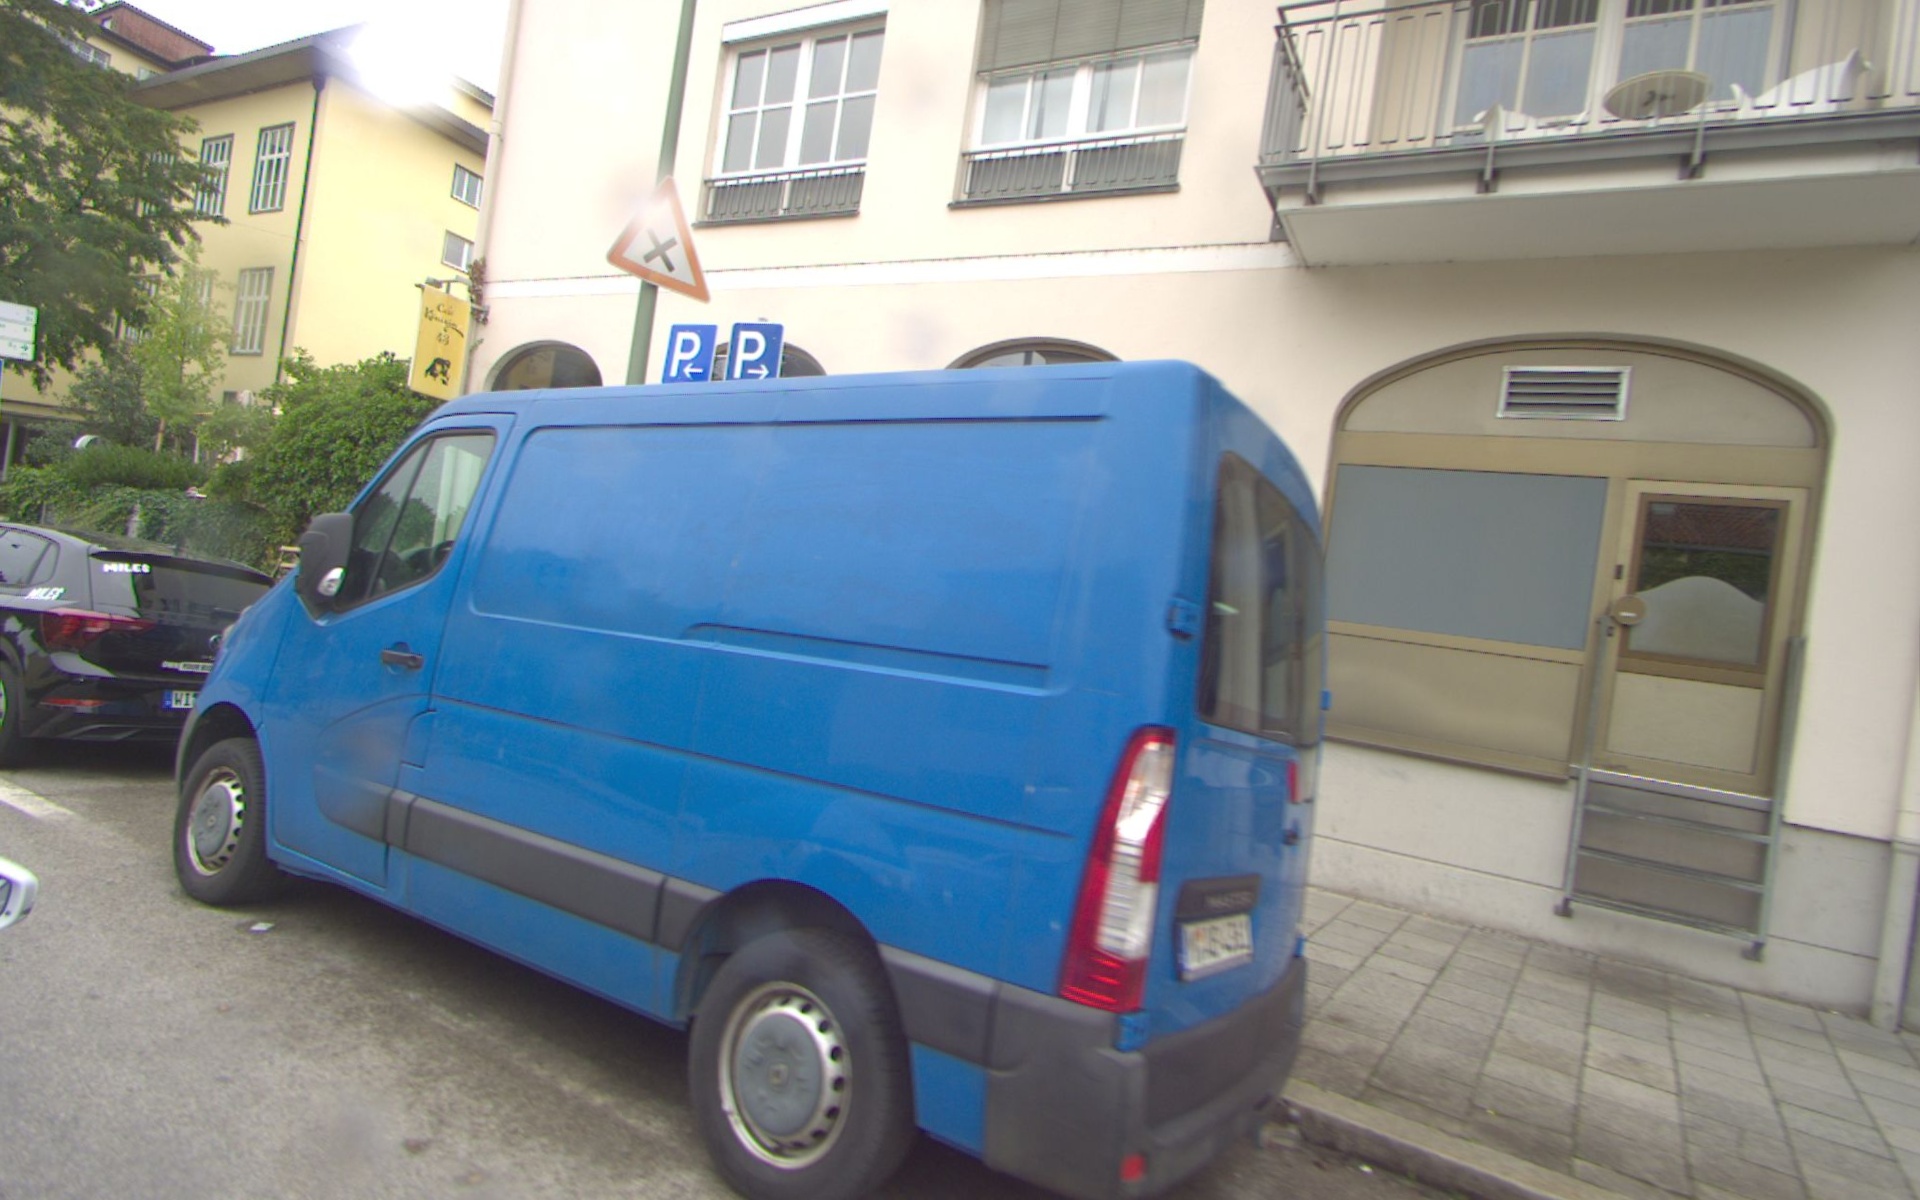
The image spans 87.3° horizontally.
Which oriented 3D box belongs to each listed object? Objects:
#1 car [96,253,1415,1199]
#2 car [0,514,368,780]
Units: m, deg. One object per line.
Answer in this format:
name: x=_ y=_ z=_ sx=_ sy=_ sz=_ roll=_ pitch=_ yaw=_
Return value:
car: x=-1.113 y=0.358 z=4.253 sx=5.158 sy=2.255 sz=2.087 roll=5 pitch=-6 yaw=31
car: x=-6.510 y=0.176 z=7.197 sx=4.229 sy=1.403 sz=1.685 roll=7 pitch=-5 yaw=26
